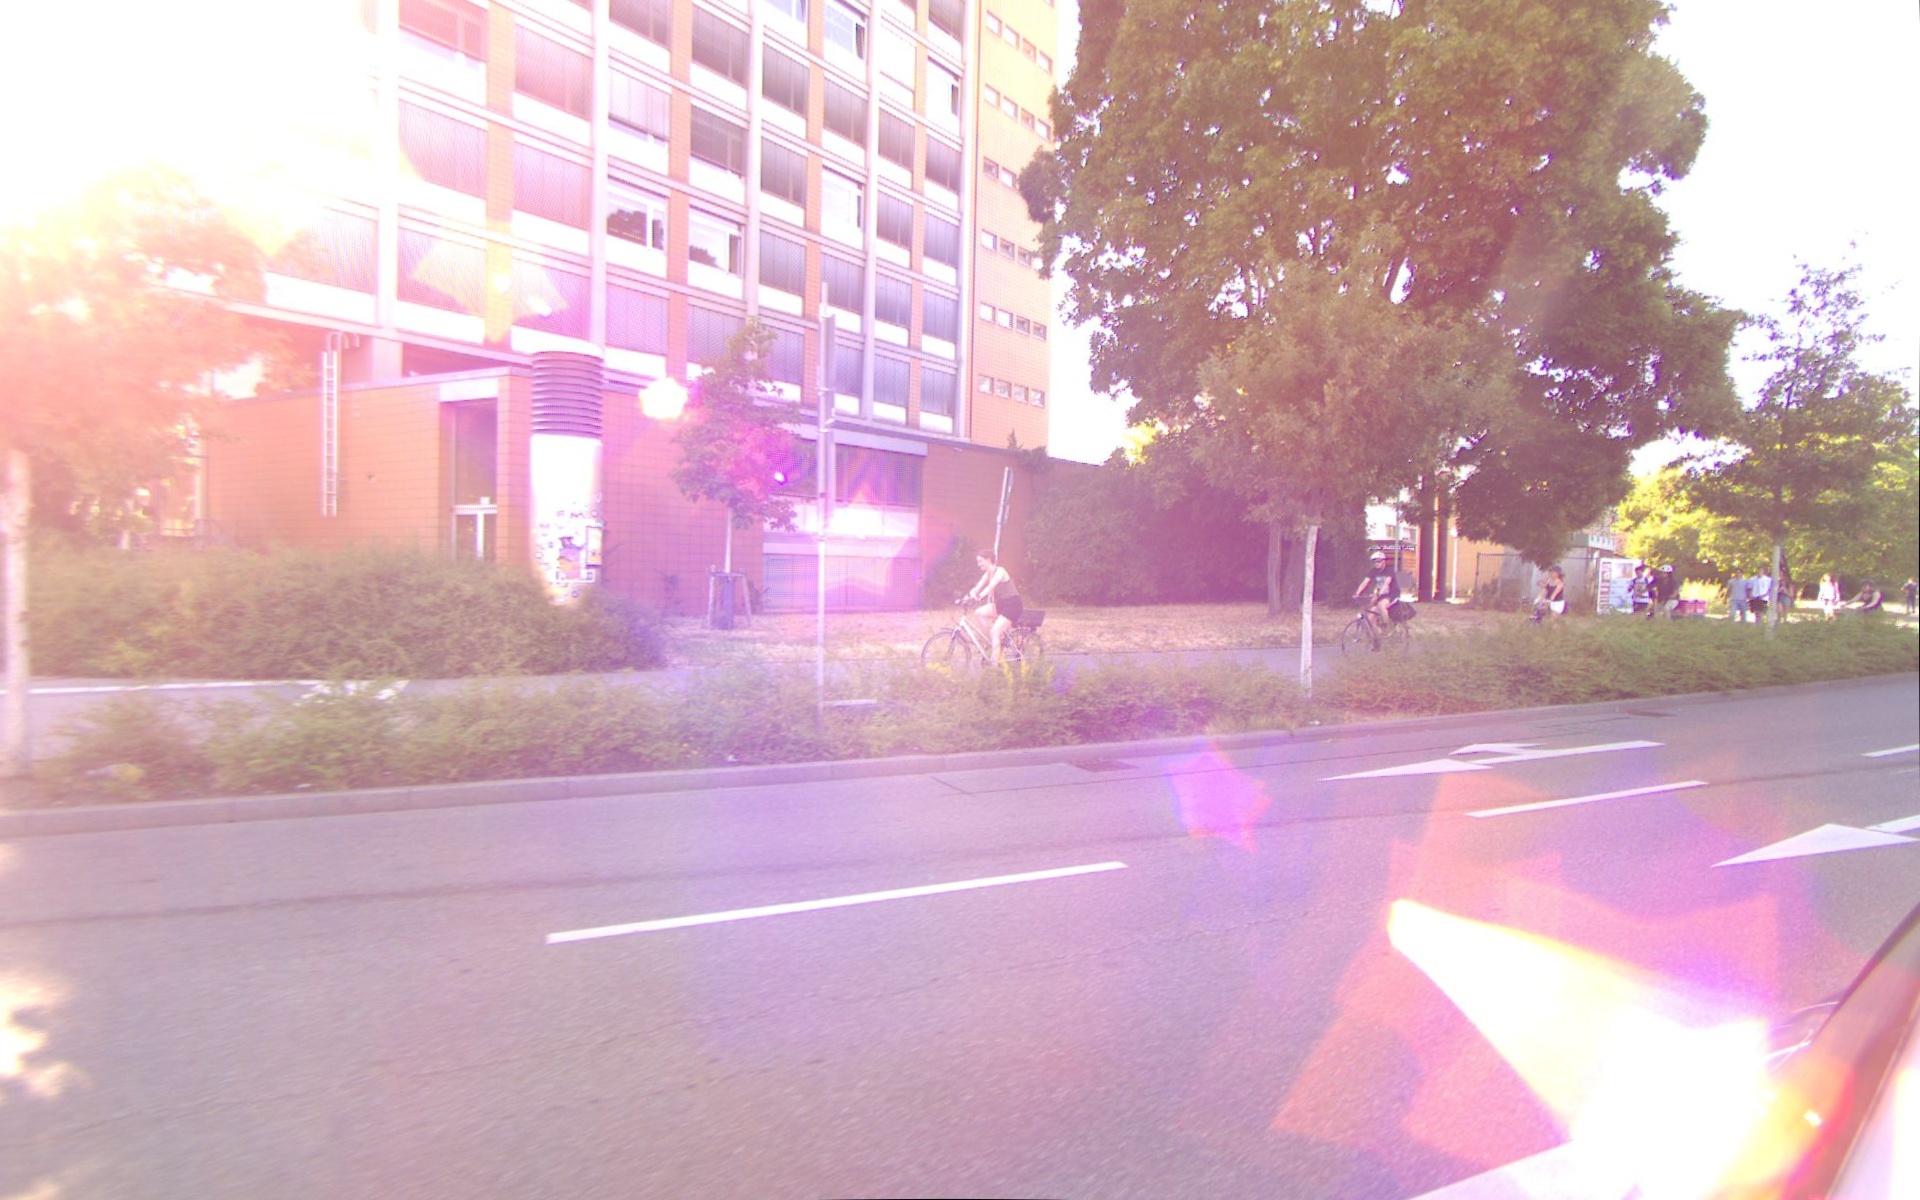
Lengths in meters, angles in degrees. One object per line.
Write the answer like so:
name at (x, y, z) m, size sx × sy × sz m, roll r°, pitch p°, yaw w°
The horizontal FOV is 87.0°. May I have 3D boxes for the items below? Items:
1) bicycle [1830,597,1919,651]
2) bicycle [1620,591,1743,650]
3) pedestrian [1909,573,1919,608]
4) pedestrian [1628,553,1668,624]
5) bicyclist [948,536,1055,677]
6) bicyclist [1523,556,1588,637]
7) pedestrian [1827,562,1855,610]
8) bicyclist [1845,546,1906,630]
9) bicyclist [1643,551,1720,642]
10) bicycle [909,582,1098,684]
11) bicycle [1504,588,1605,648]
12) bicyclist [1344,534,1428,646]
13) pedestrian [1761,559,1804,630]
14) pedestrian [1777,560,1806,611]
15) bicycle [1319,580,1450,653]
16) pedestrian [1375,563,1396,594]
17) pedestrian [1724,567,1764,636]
bicycle at (20.227, 0.505, 22.357) m, size 2.023 × 1.135 × 0.721 m, roll 0°, pitch 0°, yaw -23°
bicycle at (15.132, 0.409, 21.224) m, size 2.526 × 1.170 × 0.782 m, roll 0°, pitch 2°, yaw -20°
pedestrian at (48.075, -0.458, 50.694) m, size 0.710 × 1.734 × 0.722 m, roll 3°, pitch 2°, yaw 43°
pedestrian at (17.149, -0.299, 25.234) m, size 0.619 × 1.720 × 0.622 m, roll 0°, pitch 2°, yaw -38°
bicyclist at (0.514, 0.063, 12.859) m, size 1.070 × 1.697 × 0.783 m, roll 0°, pitch 4°, yaw -22°
bicyclist at (11.871, -0.069, 20.177) m, size 0.832 × 1.568 × 0.719 m, roll 2°, pitch 0°, yaw -21°
pedestrian at (32.242, -0.513, 37.051) m, size 0.673 × 1.725 × 0.865 m, roll 2°, pitch 2°, yaw 38°
bicyclist at (20.209, -0.269, 22.352) m, size 0.832 × 1.810 × 0.719 m, roll 0°, pitch 0°, yaw -23°
bicyclist at (15.115, -0.094, 21.209) m, size 1.070 × 1.856 × 0.782 m, roll 0°, pitch 2°, yaw -20°
bicycle at (0.559, 0.393, 12.900) m, size 2.243 × 1.169 × 0.783 m, roll 0°, pitch 4°, yaw -23°
bicycle at (11.843, 0.357, 20.169) m, size 1.829 × 1.135 × 0.721 m, roll 2°, pitch 0°, yaw -21°
bicyclist at (7.271, -0.186, 17.292) m, size 1.071 × 1.853 × 0.782 m, roll 0°, pitch 2°, yaw -27°
pedestrian at (22.222, -0.161, 27.359) m, size 0.611 × 1.892 × 0.576 m, roll 1°, pitch 2°, yaw 4°
pedestrian at (26.606, -0.463, 32.379) m, size 0.620 × 1.594 × 0.629 m, roll 3°, pitch 2°, yaw 43°
bicycle at (7.263, 0.254, 17.301) m, size 2.244 × 1.170 × 0.782 m, roll 0°, pitch 2°, yaw -27°
pedestrian at (27.759, -1.417, 66.029) m, size 0.853 × 2.038 × 0.899 m, roll 0°, pitch 2°, yaw -41°
pedestrian at (21.623, 0.033, 27.922) m, size 0.611 × 1.892 × 0.576 m, roll 1°, pitch 2°, yaw 4°
